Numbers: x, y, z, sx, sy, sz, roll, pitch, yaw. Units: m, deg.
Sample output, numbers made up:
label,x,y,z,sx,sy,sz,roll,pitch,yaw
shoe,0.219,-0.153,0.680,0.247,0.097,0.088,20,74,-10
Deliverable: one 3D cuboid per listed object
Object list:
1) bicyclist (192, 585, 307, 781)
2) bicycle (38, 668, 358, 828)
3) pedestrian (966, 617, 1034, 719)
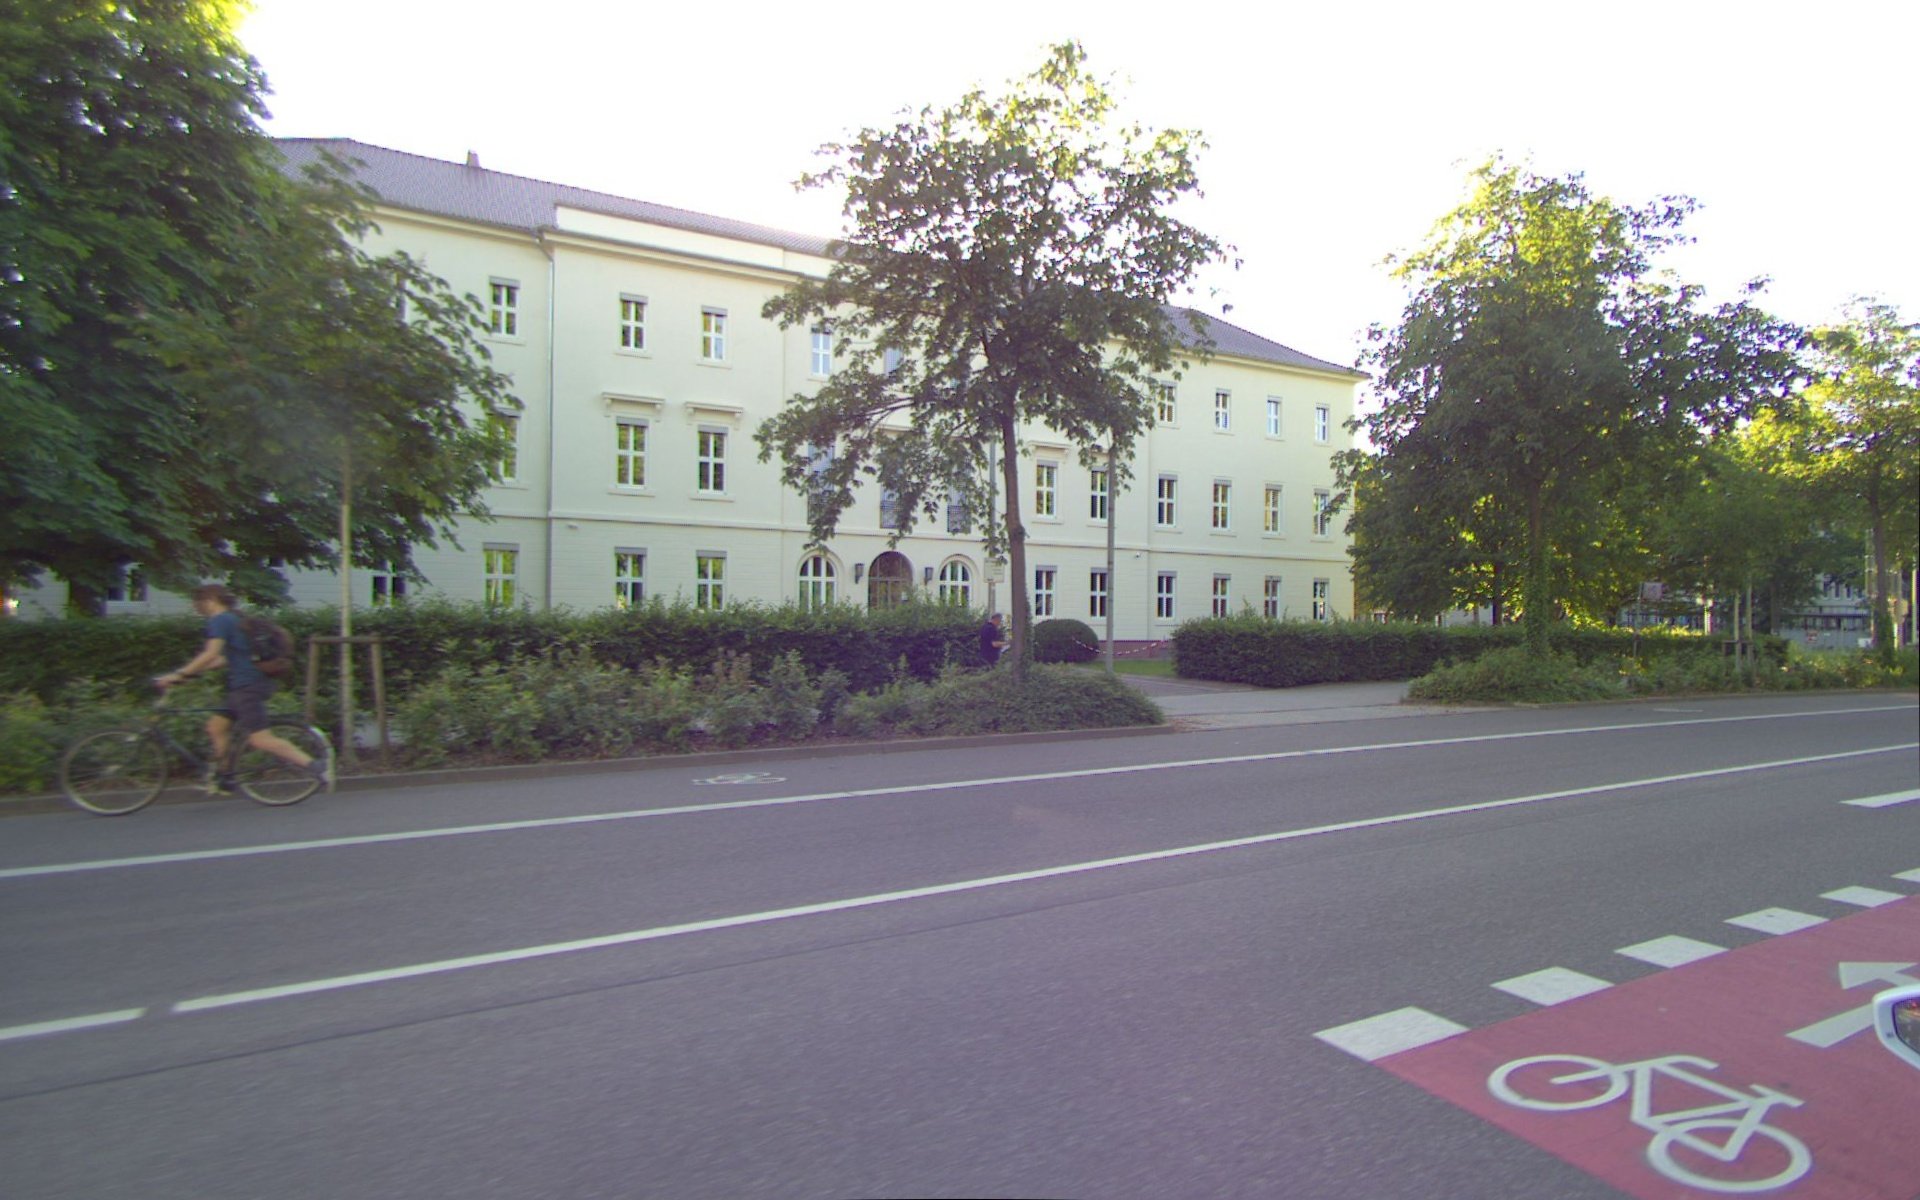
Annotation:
label,x,y,z,sx,sy,sz,roll,pitch,yaw
bicyclist,-5.896,0.680,8.373,0.716,1.542,0.626,1,-4,-32
bicycle,-6.088,1.151,8.198,2.004,1.135,0.594,1,-5,-32
pedestrian,0.758,1.271,19.081,0.990,1.875,0.852,1,-2,-31
